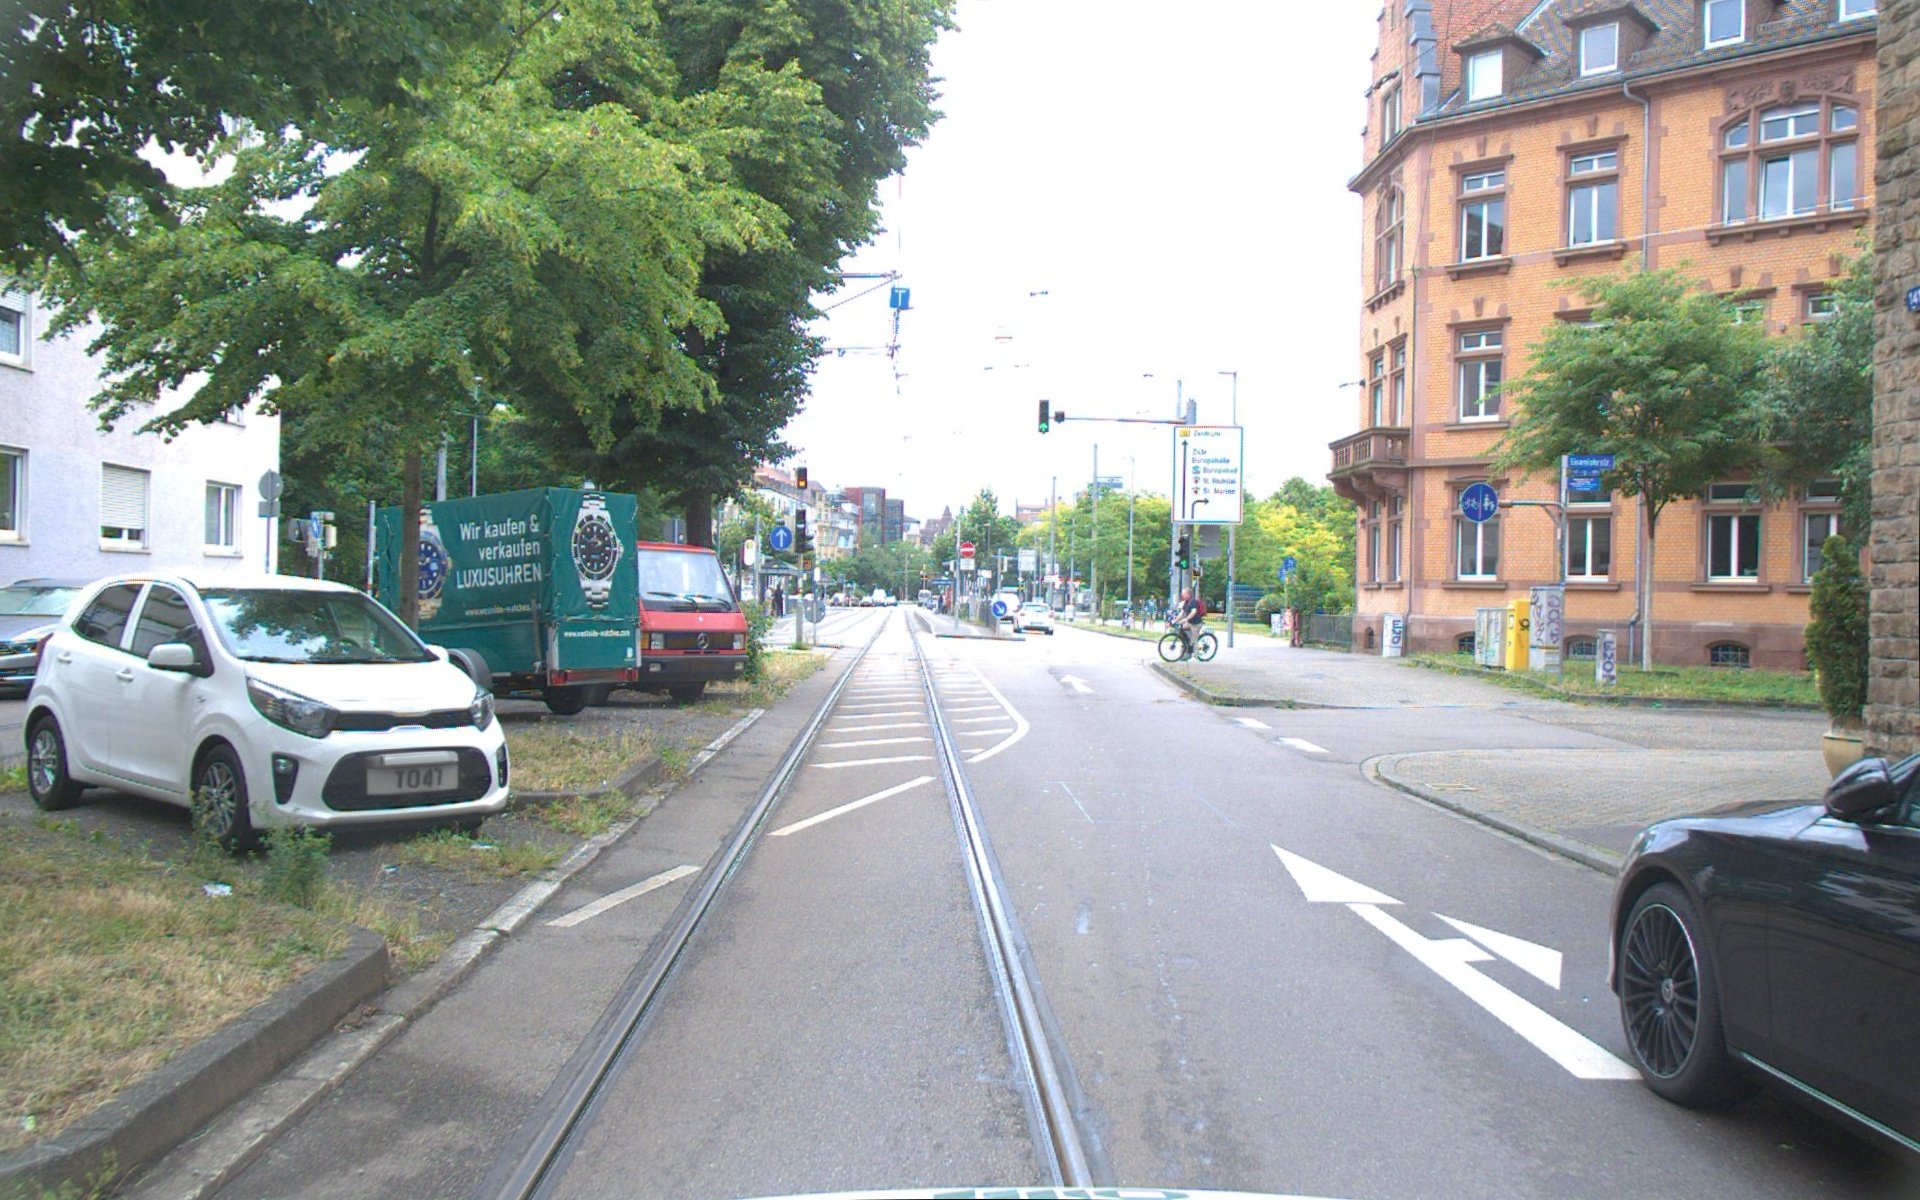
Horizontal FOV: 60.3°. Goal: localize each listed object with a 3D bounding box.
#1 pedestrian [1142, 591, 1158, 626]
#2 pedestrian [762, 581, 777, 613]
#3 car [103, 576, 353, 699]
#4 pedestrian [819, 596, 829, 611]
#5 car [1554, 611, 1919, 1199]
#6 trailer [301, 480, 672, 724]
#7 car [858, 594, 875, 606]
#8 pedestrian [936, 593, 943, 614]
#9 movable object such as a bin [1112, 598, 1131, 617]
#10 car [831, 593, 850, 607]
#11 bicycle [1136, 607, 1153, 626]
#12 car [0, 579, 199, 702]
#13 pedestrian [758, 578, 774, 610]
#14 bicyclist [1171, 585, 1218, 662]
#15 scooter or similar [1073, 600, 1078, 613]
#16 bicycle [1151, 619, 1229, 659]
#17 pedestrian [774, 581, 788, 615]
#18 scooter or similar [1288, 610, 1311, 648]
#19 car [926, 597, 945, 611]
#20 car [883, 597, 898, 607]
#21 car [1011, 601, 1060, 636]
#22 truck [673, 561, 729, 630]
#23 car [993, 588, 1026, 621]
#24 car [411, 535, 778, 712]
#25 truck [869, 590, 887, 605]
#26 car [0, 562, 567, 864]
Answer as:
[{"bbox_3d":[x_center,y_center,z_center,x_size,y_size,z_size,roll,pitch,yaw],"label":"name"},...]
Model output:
[{"bbox_3d":[10.380,0.483,90.460,0.725,1.902,0.682,1,0,-4],"label":"pedestrian"},{"bbox_3d":[-10.348,-0.157,89.962,0.753,1.689,1.024,1,0,-5],"label":"pedestrian"},{"bbox_3d":[-9.257,0.443,21.263,1.611,1.407,3.881,1,0,-3],"label":"car"},{"bbox_3d":[-11.789,0.300,143.143,0.848,1.289,0.693,1,0,-4],"label":"pedestrian"},{"bbox_3d":[3.159,0.816,3.662,1.787,1.475,5.005,2,0,-1],"label":"car"},{"bbox_3d":[-5.135,-0.005,17.904,3.592,2.385,1.927,1,0,31],"label":"trailer"},{"bbox_3d":[-12.552,0.032,222.671,1.733,1.519,3.889,1,0,4],"label":"car"},{"bbox_3d":[-1.565,0.250,126.916,0.521,1.585,0.571,1,0,2],"label":"pedestrian"},{"bbox_3d":[12.295,0.538,126.066,1.256,1.414,1.159,1,0,-1],"label":"movable object such as a bin"},{"bbox_3d":[-14.373,0.006,199.077,1.733,1.519,3.889,1,0,4],"label":"car"},{"bbox_3d":[10.087,0.918,90.510,0.641,1.020,1.778,1,0,-2],"label":"bicycle"},{"bbox_3d":[-11.955,0.466,22.168,1.602,1.468,4.567,1,0,-3],"label":"car"},{"bbox_3d":[-10.191,-0.317,86.921,0.663,1.652,0.634,1,0,16],"label":"pedestrian"},{"bbox_3d":[5.695,0.574,40.172,0.673,1.826,0.881,2,0,-33],"label":"bicyclist"},{"bbox_3d":[10.636,0.567,152.234,0.368,1.161,1.200,1,0,9],"label":"scooter or similar"},{"bbox_3d":[5.628,0.954,40.389,1.846,0.940,0.787,2,0,-35],"label":"bicycle"},{"bbox_3d":[-9.329,-0.090,86.184,0.687,1.745,0.697,1,0,-10],"label":"pedestrian"},{"bbox_3d":[10.428,0.881,50.828,0.368,1.161,1.198,1,0,-4],"label":"scooter or similar"},{"bbox_3d":[-2.771,0.435,188.414,1.733,1.519,3.889,1,0,5],"label":"car"},{"bbox_3d":[-10.614,0.270,253.113,1.733,1.519,3.889,1,0,4],"label":"car"},{"bbox_3d":[3.489,0.840,77.123,1.748,1.498,4.006,1,0,-5],"label":"car"},{"bbox_3d":[-12.753,-0.190,81.759,2.142,3.212,7.324,1,0,-5],"label":"truck"},{"bbox_3d":[3.074,0.263,104.010,1.747,1.997,4.380,1,0,-2],"label":"car"},{"bbox_3d":[-4.696,0.235,20.949,4.674,2.009,1.952,1,0,37],"label":"car"},{"bbox_3d":[-11.646,-0.361,235.286,1.750,2.068,5.398,1,0,4],"label":"truck"},{"bbox_3d":[-4.236,0.536,10.057,3.792,1.488,1.680,1,0,40],"label":"car"}]
